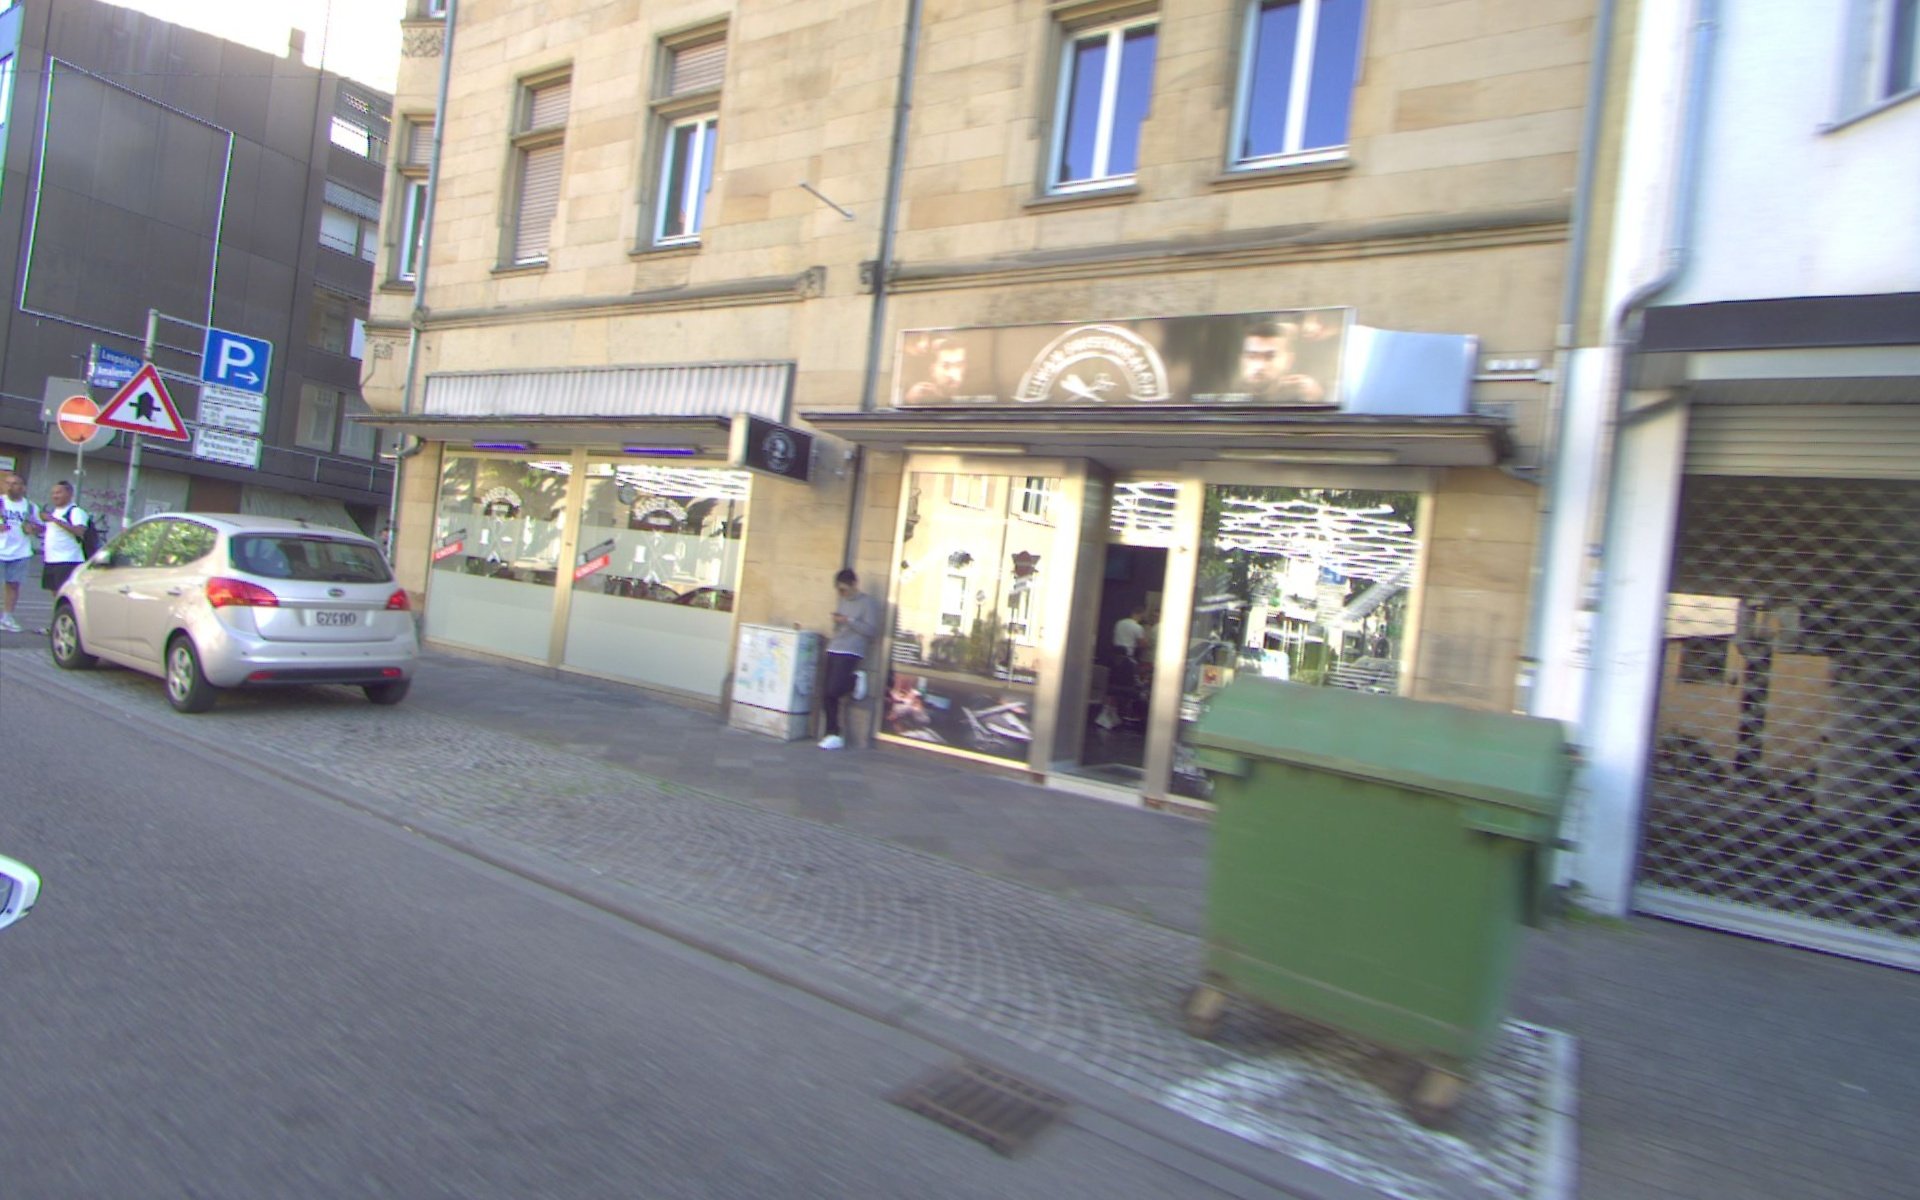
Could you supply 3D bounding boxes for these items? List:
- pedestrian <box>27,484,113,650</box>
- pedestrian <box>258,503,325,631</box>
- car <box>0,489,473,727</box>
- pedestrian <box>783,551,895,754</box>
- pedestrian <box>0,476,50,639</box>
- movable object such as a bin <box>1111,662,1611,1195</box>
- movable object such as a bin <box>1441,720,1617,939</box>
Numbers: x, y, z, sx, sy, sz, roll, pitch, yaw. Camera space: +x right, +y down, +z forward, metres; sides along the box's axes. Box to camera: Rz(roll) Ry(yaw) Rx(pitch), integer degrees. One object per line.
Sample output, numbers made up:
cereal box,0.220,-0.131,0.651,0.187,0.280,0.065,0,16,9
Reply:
pedestrian,-10.158,-0.376,11.483,0.604,1.800,0.511,5,-2,44
pedestrian,-10.449,-0.507,15.722,0.642,1.892,0.621,8,-2,-36
car,-7.031,0.021,9.599,4.745,1.694,1.903,5,-3,32
pedestrian,-1.139,0.485,9.504,0.672,1.811,0.608,6,1,31
pedestrian,-10.762,-0.492,11.282,0.626,1.754,0.613,5,-2,44
movable object such as a bin,1.581,1.081,3.994,1.469,1.476,1.072,8,3,37
movable object such as a bin,3.579,1.384,6.336,0.815,1.136,0.878,6,-2,32
